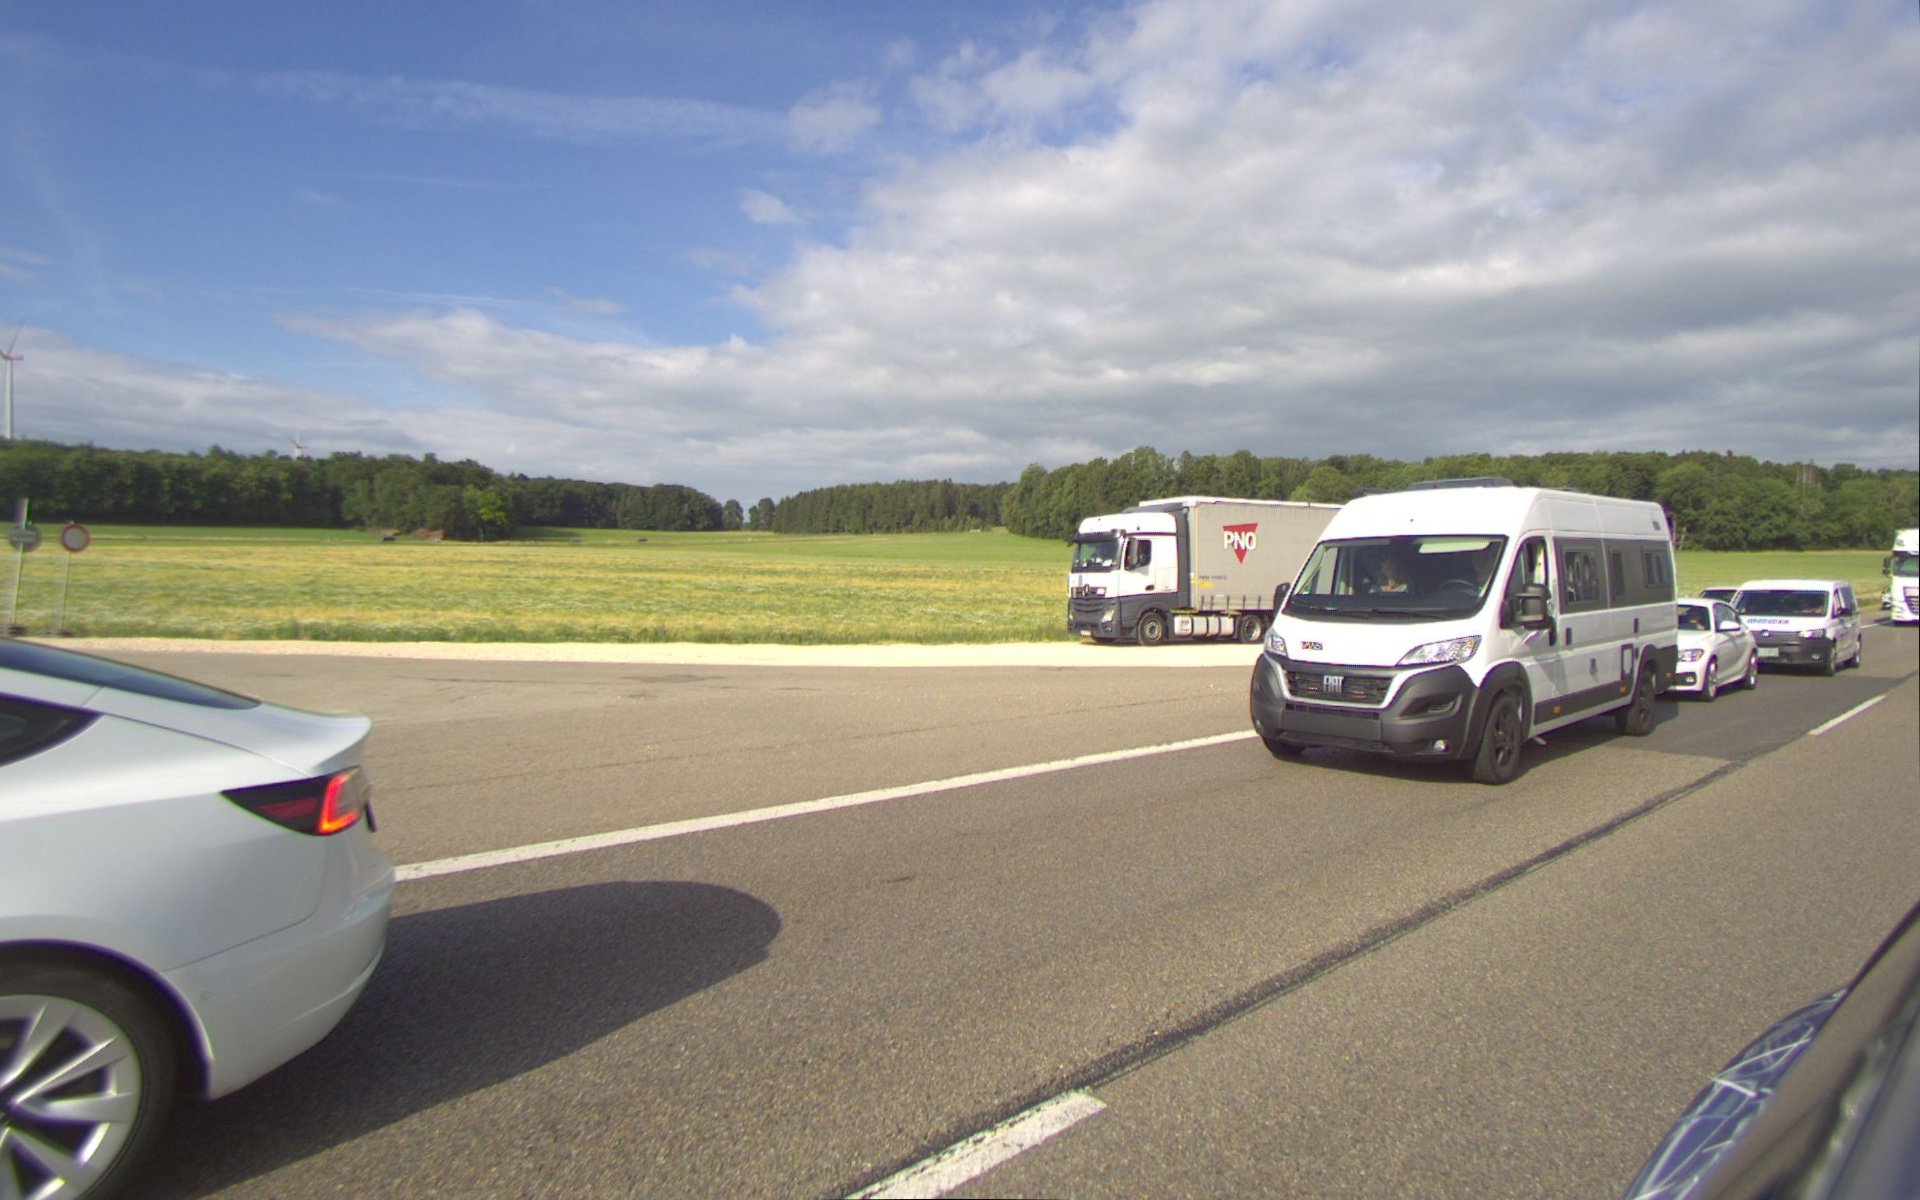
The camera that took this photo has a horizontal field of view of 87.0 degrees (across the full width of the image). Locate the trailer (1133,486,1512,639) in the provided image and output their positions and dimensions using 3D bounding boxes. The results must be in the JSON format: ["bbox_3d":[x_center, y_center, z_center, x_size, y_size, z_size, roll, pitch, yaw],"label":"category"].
[{"bbox_3d":[11.833,-1.069,32.112,13.545,4.213,2.748,0,0,-27],"label":"trailer"}]

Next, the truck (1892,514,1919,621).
[{"bbox_3d":[40.624,-1.345,41.690,5.669,4.226,2.733,-1,1,-42],"label":"truck"}]

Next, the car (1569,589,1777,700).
[{"bbox_3d":[10.879,0.557,15.331,4.159,1.450,1.706,-1,1,-42],"label":"car"}]

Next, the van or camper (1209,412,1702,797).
[{"bbox_3d":[5.221,-0.018,10.053,6.223,2.714,2.218,-1,1,-42],"label":"van or camper"}]

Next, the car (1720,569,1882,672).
[{"bbox_3d":[16.353,0.336,19.595,4.621,1.779,1.727,-1,0,-41],"label":"car"}]

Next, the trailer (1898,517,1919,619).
[{"bbox_3d":[45.082,-1.475,45.743,13.781,4.212,2.739,-2,1,-42],"label":"trailer"}]

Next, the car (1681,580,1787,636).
[{"bbox_3d":[24.219,0.181,31.597,4.596,1.612,1.807,-1,2,-42],"label":"car"}]

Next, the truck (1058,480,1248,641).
[{"bbox_3d":[5.502,-1.058,28.913,4.663,4.226,2.726,0,0,-27],"label":"truck"}]

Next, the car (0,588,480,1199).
[{"bbox_3d":[-3.525,0.683,1.974,4.363,1.411,1.790,0,1,-44],"label":"car"}]
